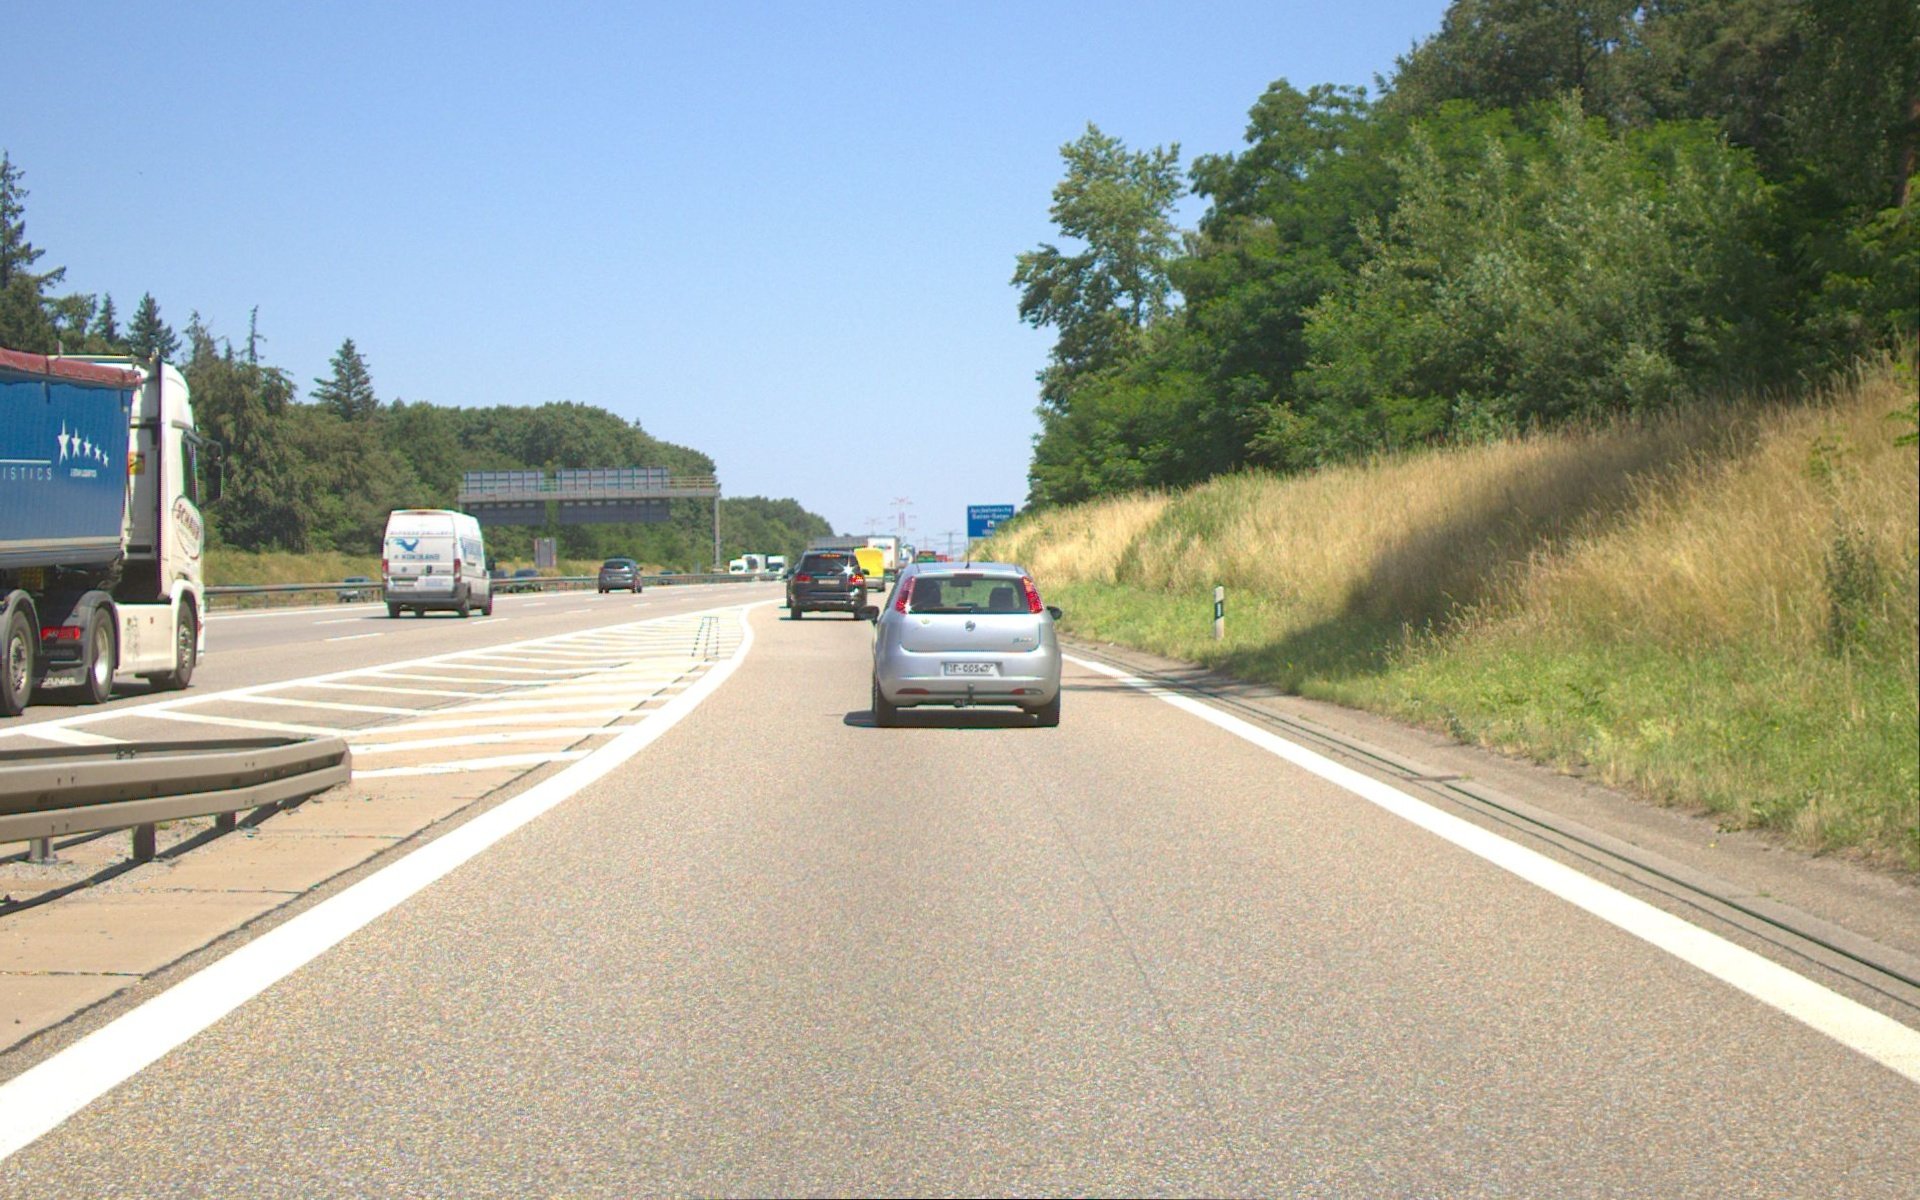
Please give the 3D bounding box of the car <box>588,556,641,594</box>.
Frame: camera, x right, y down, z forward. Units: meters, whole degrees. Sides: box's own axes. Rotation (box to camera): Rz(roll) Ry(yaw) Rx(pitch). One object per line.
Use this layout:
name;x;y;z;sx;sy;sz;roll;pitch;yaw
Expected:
car;-16.647;-1.225;165.851;2.156;1.808;4.860;0;1;-1

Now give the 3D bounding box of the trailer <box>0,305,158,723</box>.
trailer;-9.979;-0.791;32.423;2.737;3.746;9.109;0;1;0

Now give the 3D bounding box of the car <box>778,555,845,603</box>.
car;-4.675;-0.661;108.407;1.894;1.464;4.261;1;0;0

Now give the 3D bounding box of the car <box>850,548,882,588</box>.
car;-4.915;-1.664;178.968;1.611;2.007;4.000;1;0;-2

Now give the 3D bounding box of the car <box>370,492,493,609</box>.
car;-13.784;-1.276;90.021;2.260;2.940;6.114;1;0;0

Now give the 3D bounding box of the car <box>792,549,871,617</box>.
car;-3.274;-0.425;88.212;1.832;1.666;4.000;1;0;1

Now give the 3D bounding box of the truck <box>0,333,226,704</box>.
truck;-10.010;-0.857;37.658;2.684;3.746;5.944;0;1;0

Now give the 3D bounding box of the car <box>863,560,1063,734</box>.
car;-0.020;0.385;31.756;1.719;1.486;3.737;1;1;-1
